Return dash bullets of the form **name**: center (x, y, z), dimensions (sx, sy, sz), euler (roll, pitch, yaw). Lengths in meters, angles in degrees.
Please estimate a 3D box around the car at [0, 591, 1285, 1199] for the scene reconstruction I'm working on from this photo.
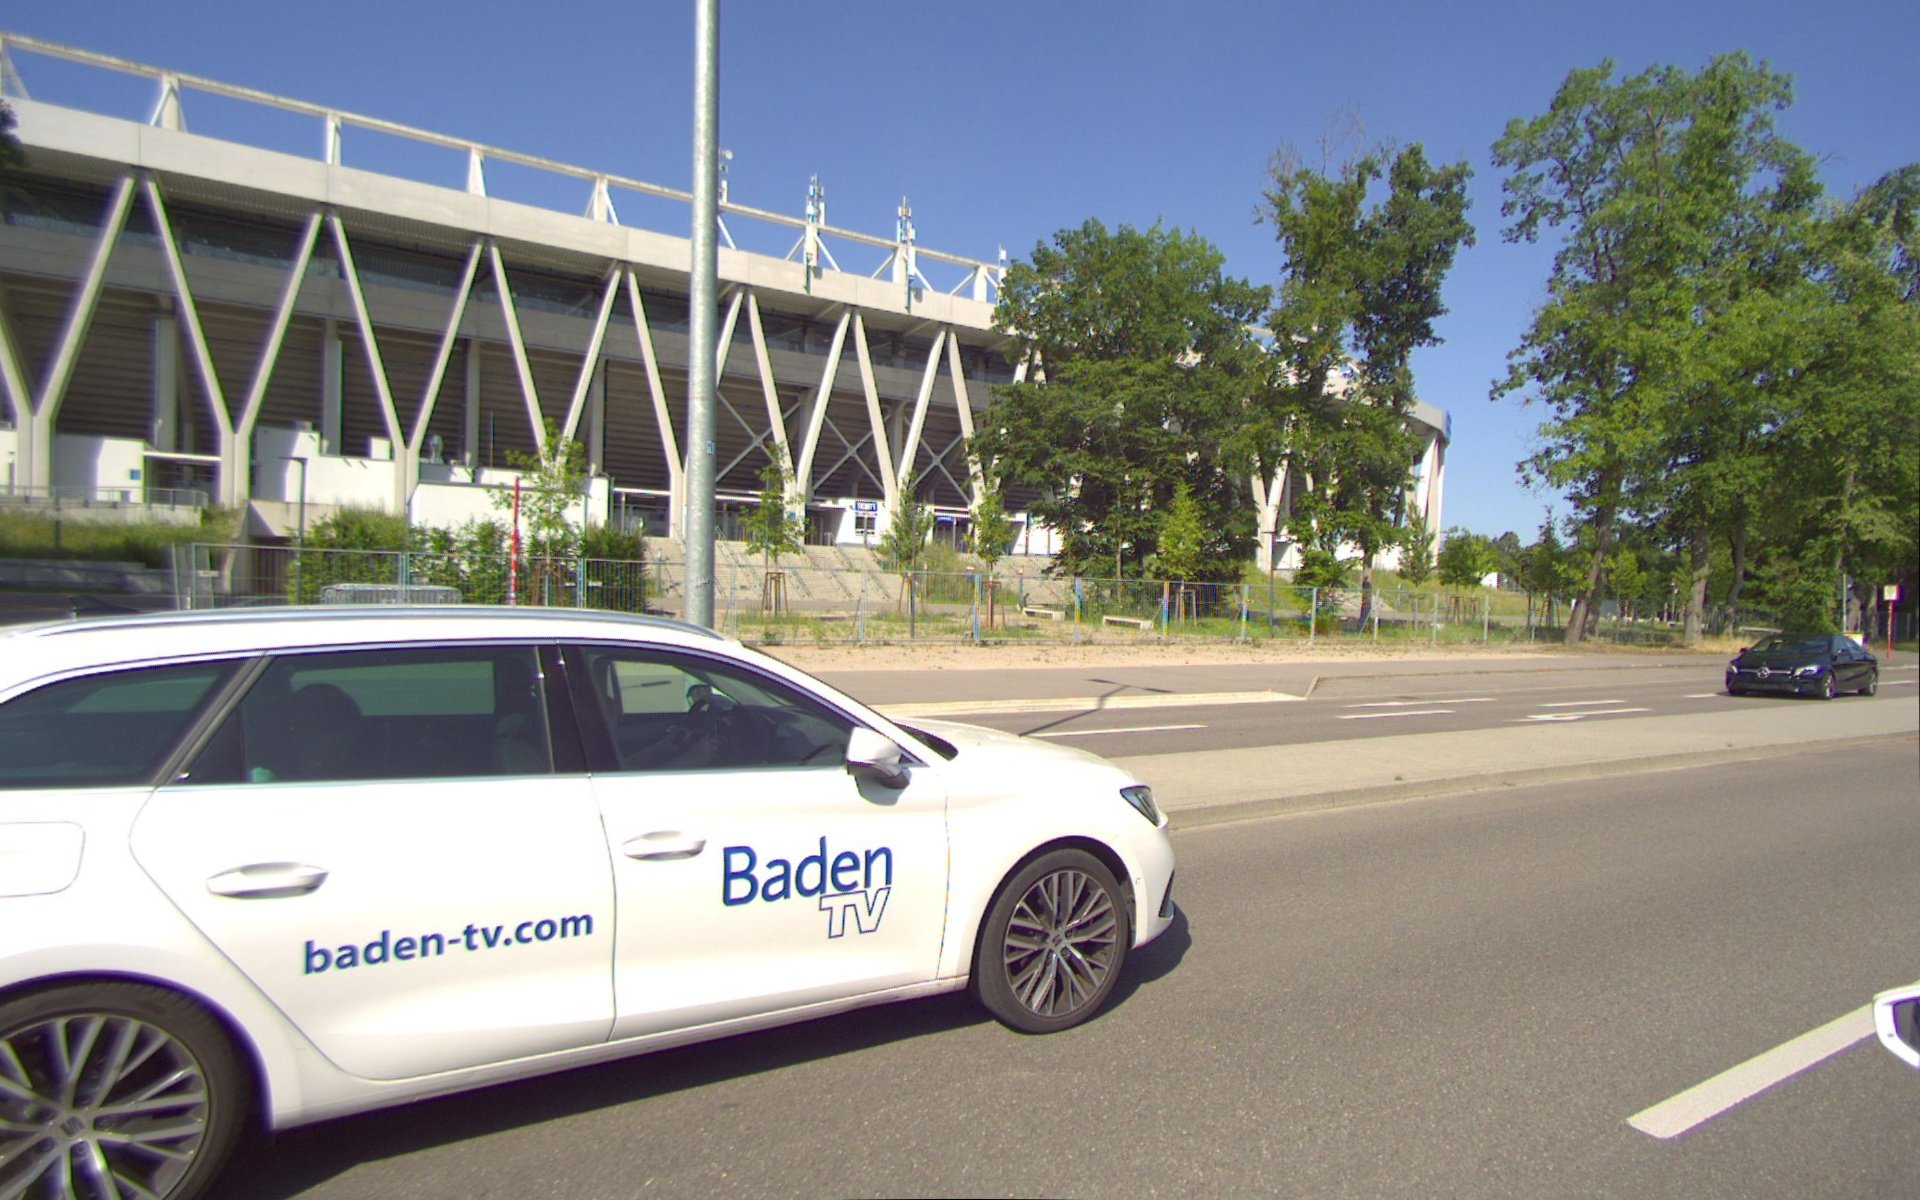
- **car**: center (-1.154, 0.733, 3.514), dimensions (4.665, 1.446, 1.717), euler (1, -1, -31)

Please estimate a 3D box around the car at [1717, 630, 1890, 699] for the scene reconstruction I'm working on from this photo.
- **car**: center (19.042, 1.398, 22.643), dimensions (4.115, 1.406, 1.801), euler (1, -2, -32)
